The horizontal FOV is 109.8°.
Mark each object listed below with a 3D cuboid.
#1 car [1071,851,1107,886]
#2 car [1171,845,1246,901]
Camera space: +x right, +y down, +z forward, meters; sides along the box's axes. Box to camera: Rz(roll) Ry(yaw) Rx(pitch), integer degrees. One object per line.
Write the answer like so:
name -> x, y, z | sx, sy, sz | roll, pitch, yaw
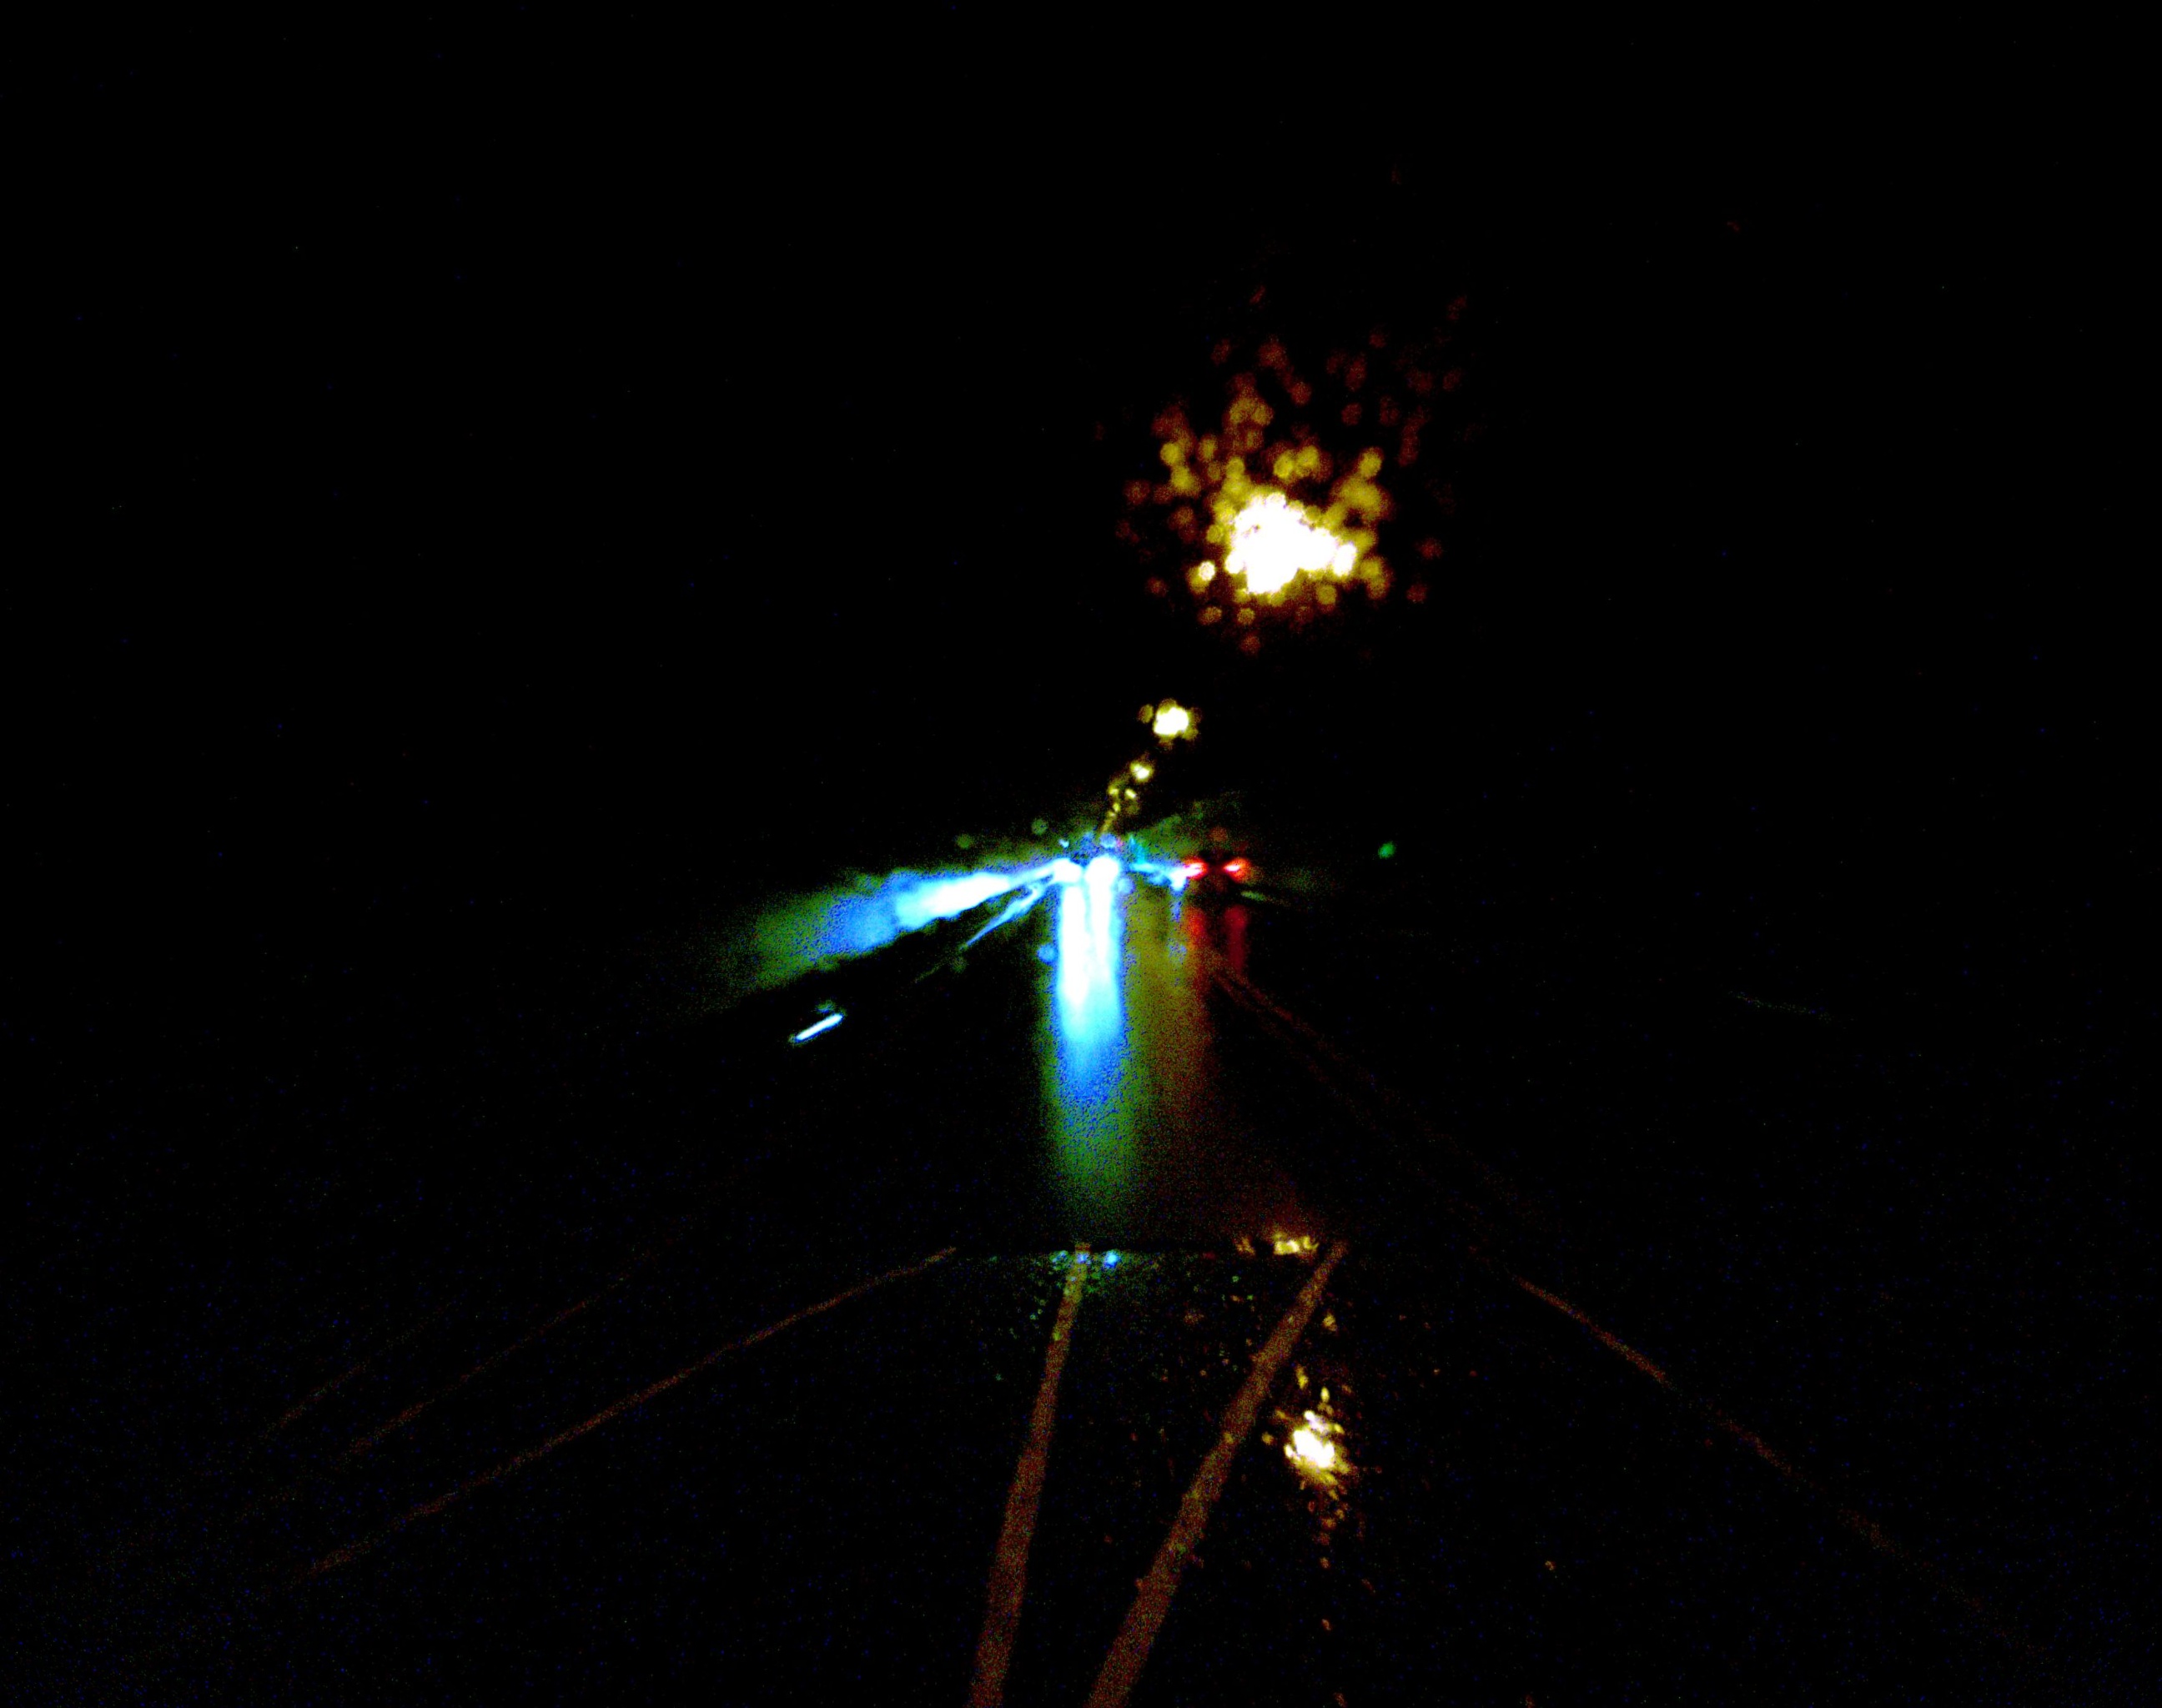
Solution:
car -> 0.456, 0.701, 39.103 | 1.730, 1.596, 4.000 | -2, 1, 2
car -> 4.041, 0.549, 24.643 | 1.888, 1.596, 4.000 | -2, 1, 3
